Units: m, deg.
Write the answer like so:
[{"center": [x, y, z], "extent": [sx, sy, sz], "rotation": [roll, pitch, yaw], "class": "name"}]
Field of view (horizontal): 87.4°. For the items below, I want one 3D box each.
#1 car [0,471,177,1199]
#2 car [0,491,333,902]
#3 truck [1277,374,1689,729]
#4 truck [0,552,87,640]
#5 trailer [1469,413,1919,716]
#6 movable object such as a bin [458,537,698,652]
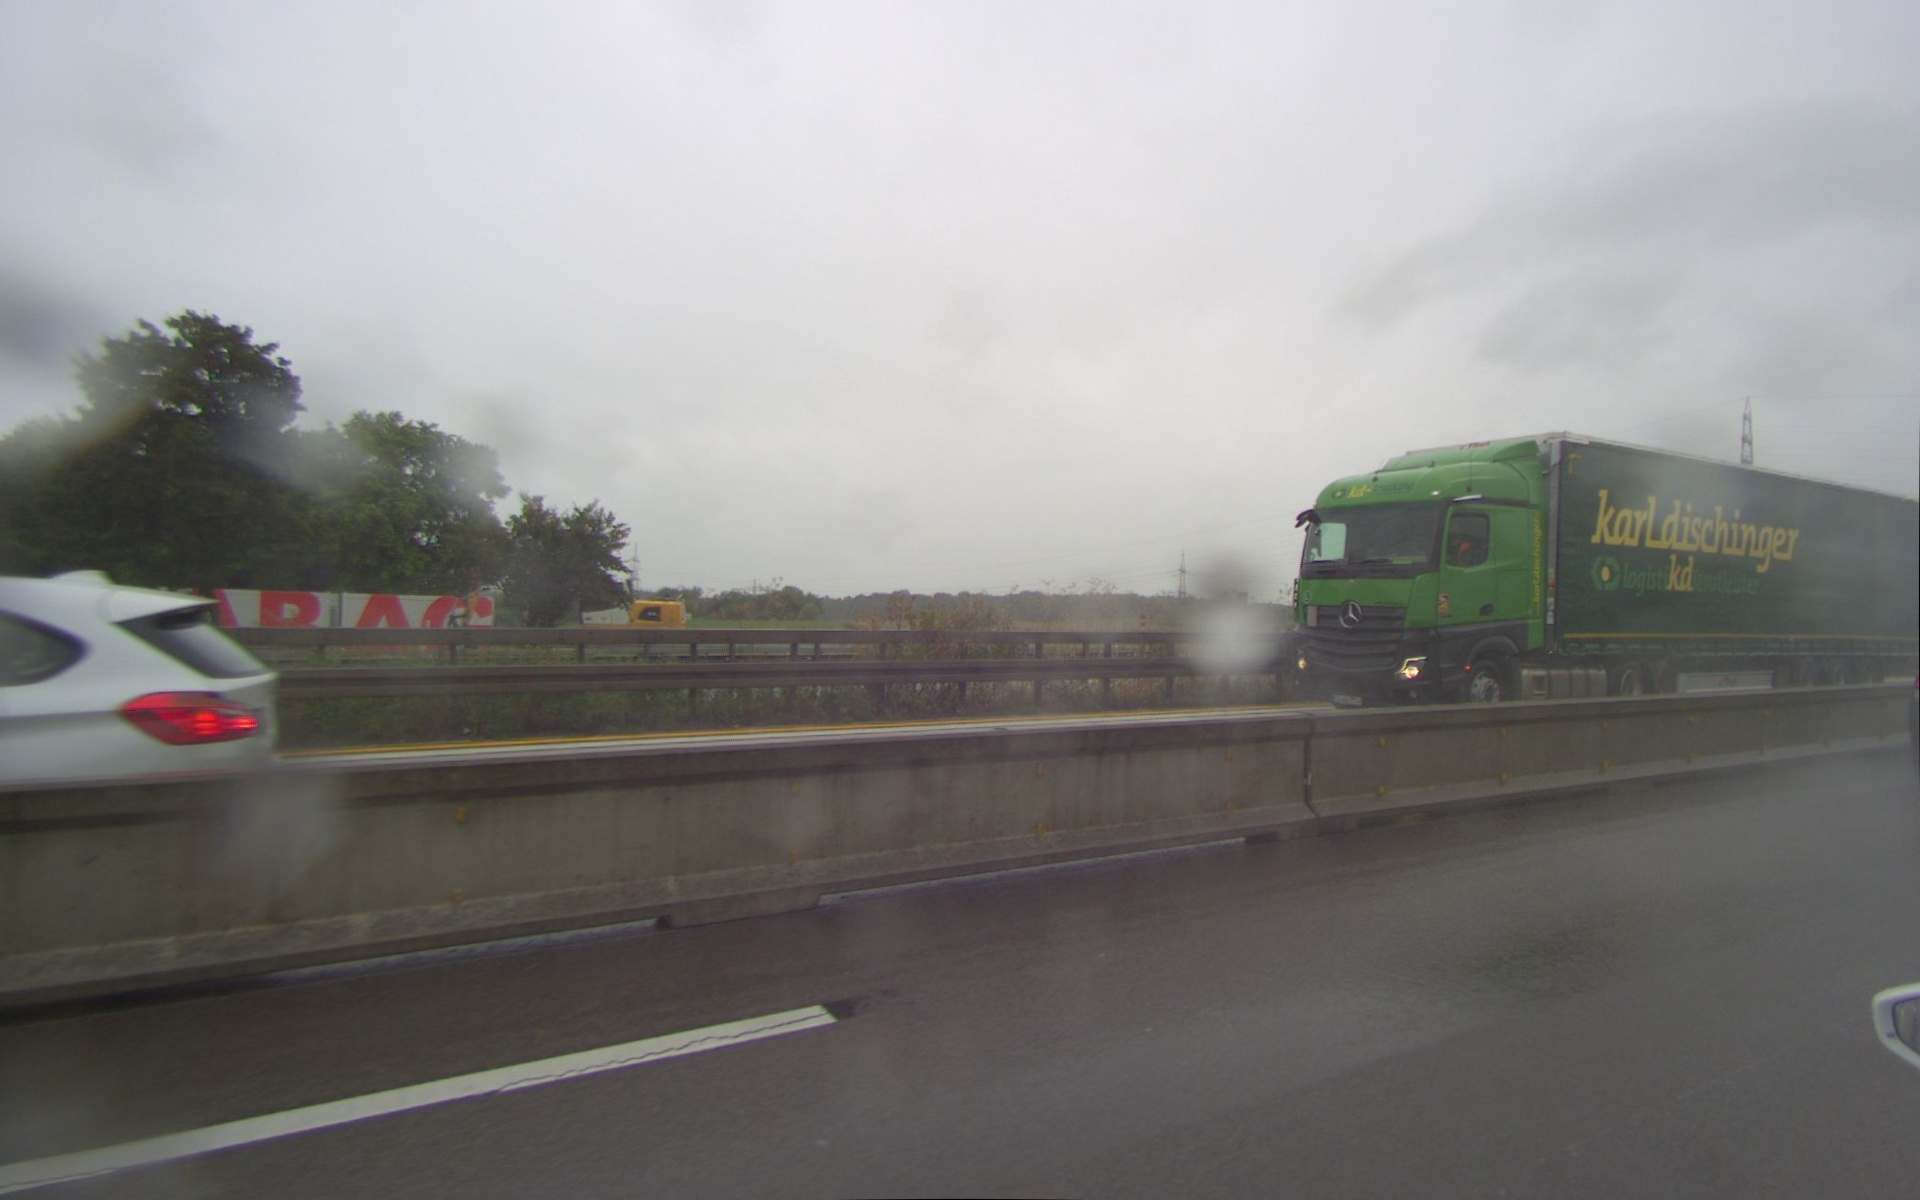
[{"center": [-3.911, 0.503, 0.935], "extent": [4.738, 1.548, 1.930], "rotation": [1, 0, -30], "class": "car"}, {"center": [-5.164, 0.323, 4.118], "extent": [4.271, 1.619, 1.692], "rotation": [3, -1, -30], "class": "car"}, {"center": [8.050, -0.554, 15.293], "extent": [6.215, 4.447, 2.596], "rotation": [1, 0, -30], "class": "truck"}, {"center": [-33.124, -0.207, 31.096], "extent": [8.794, 2.740, 2.504], "rotation": [1, 0, -29], "class": "truck"}, {"center": [15.187, -0.391, 19.417], "extent": [13.391, 4.516, 2.569], "rotation": [1, 0, -30], "class": "trailer"}, {"center": [-14.874, -0.110, 39.465], "extent": [8.367, 3.971, 2.715], "rotation": [3, -1, -31], "class": "movable object such as a bin"}]
